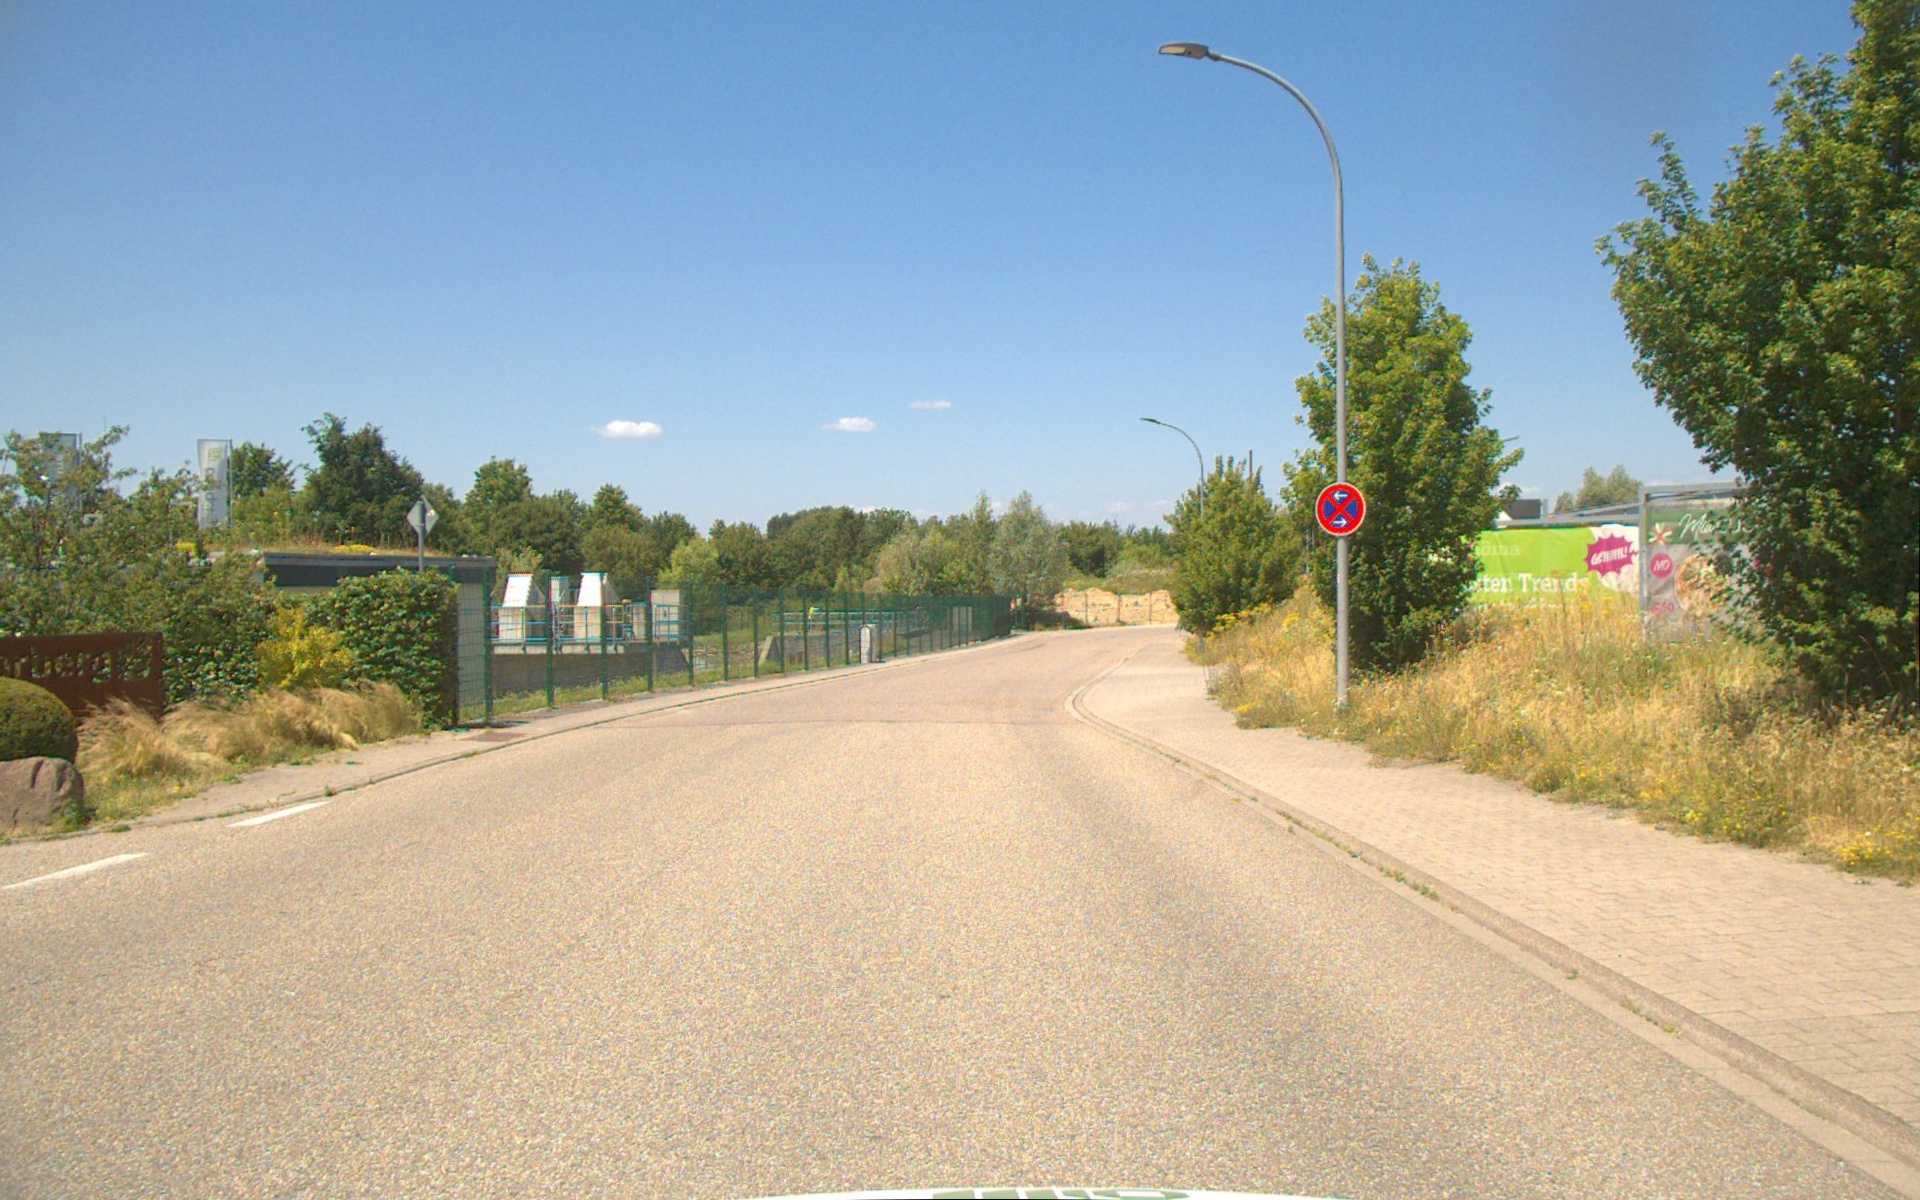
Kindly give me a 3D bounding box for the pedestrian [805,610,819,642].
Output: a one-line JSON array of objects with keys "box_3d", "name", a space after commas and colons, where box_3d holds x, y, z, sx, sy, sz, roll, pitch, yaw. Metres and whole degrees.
[{"box_3d": [-8.801, 1.560, 98.407, 0.593, 1.871, 0.805, -2, 0, 7], "name": "pedestrian"}]
